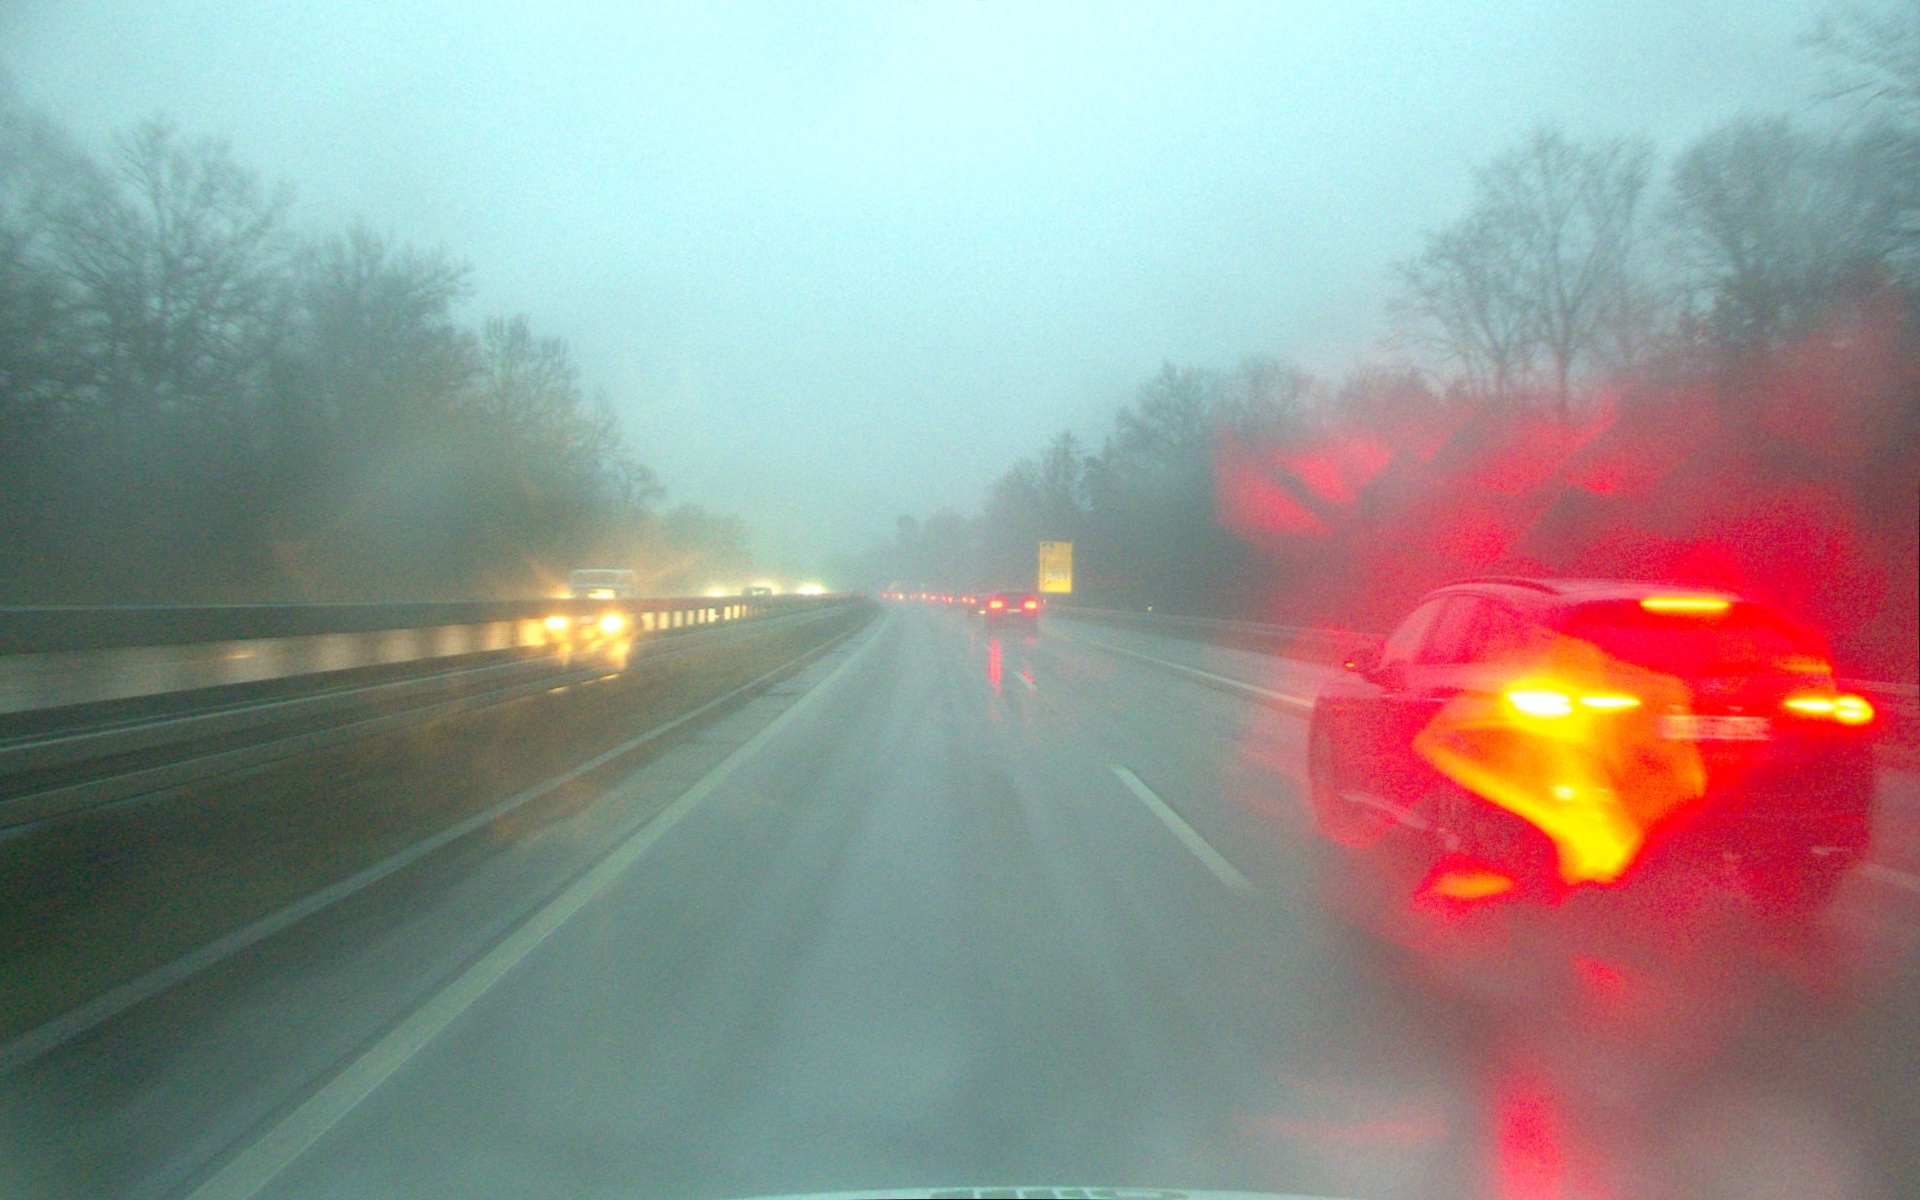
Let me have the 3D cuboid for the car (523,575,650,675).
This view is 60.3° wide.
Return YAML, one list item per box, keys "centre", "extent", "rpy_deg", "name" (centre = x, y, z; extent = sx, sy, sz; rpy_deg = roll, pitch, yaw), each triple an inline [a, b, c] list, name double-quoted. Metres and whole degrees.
- centre: [-7.920, 0.511, 35.502]
  extent: [1.707, 1.990, 4.817]
  rpy_deg: [1, 0, -1]
  name: "car"

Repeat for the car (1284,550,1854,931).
- centre: [3.343, 0.691, 9.981]
  extent: [1.885, 1.823, 3.939]
  rpy_deg: [1, 0, -2]
  name: "car"

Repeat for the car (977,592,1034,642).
- centre: [1.672, 0.622, 61.728]
  extent: [1.951, 1.745, 3.829]
  rpy_deg: [1, 0, -1]
  name: "car"
